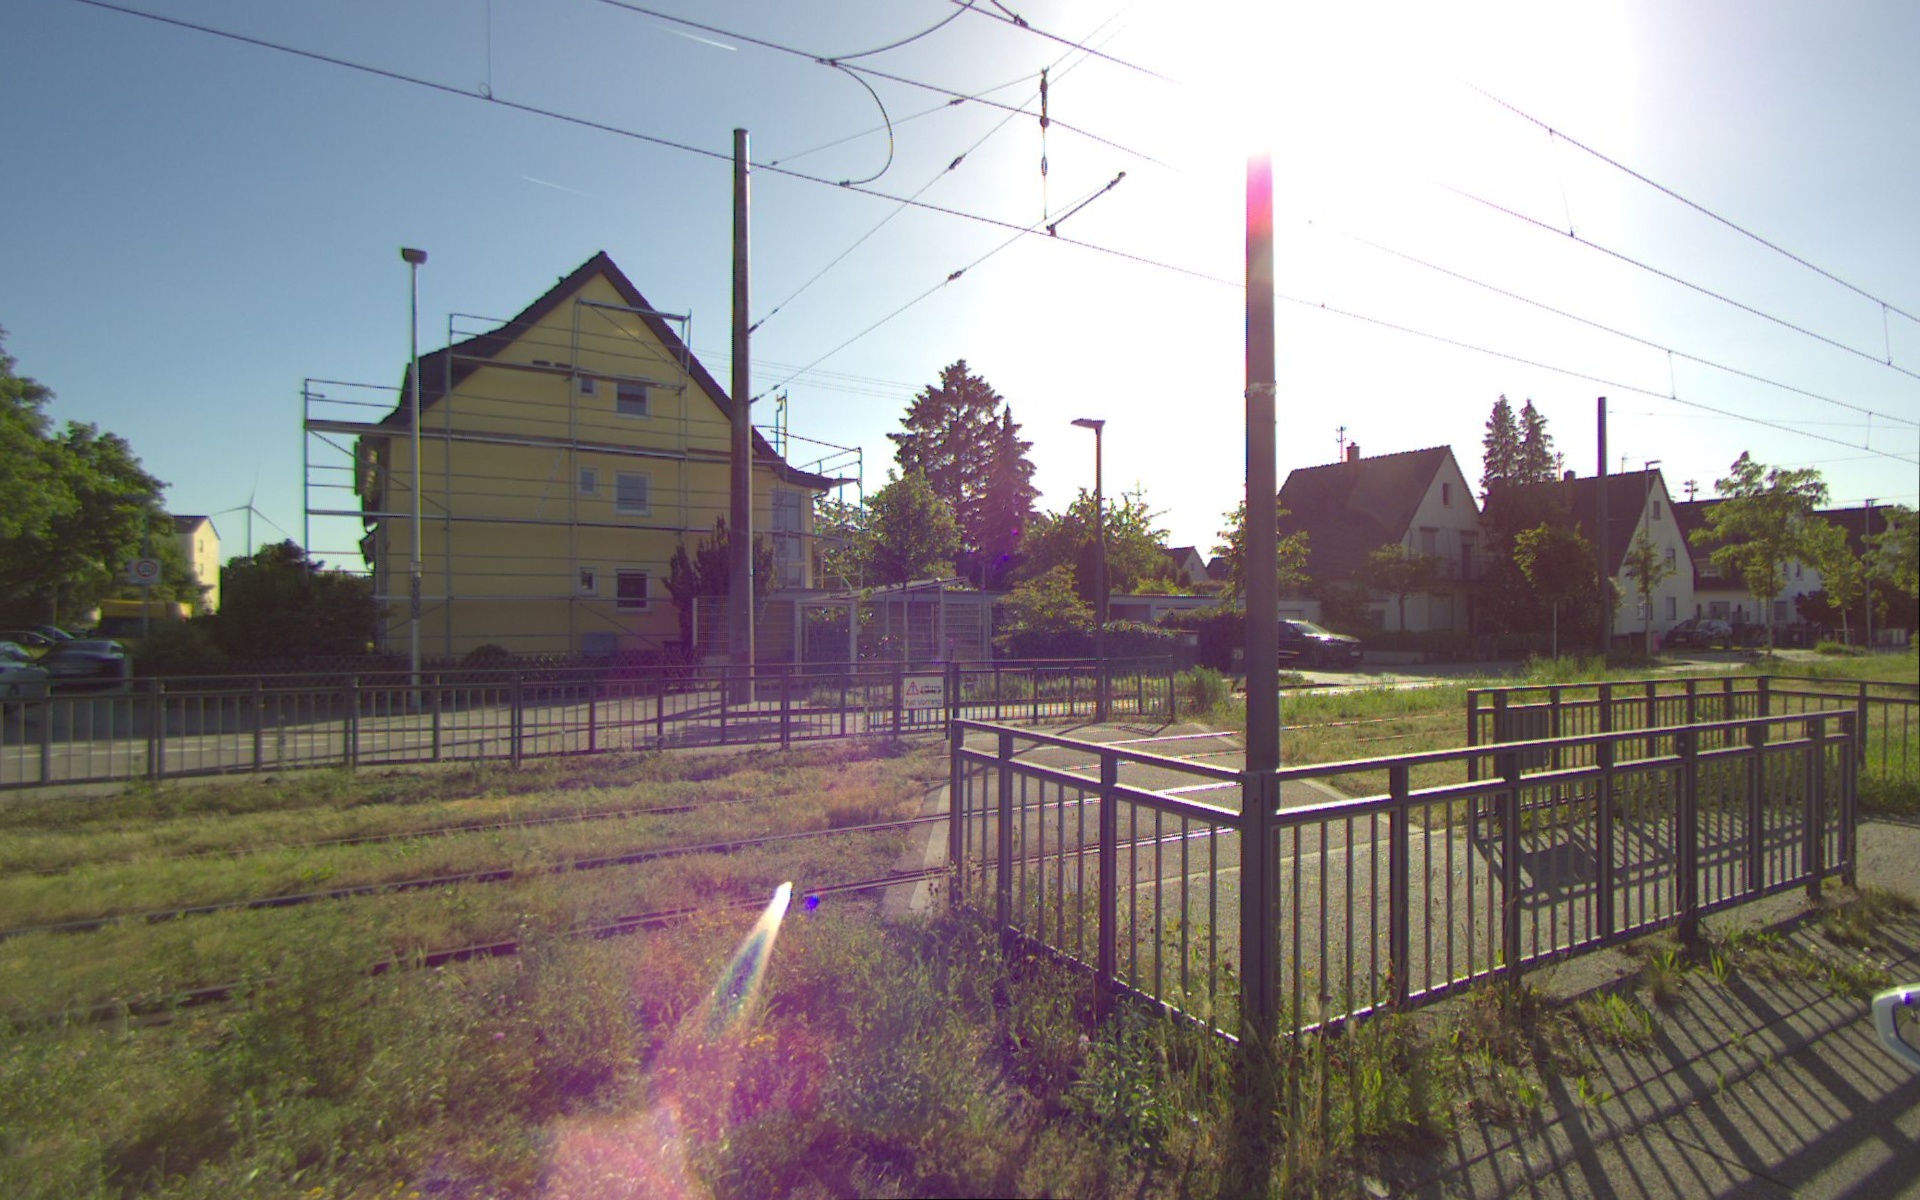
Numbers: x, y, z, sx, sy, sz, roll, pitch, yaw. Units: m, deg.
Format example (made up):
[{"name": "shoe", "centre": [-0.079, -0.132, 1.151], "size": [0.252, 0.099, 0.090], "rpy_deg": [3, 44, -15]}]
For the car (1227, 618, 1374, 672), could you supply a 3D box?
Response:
[{"name": "car", "centre": [11.942, 1.564, 35.454], "size": [2.037, 1.757, 4.499], "rpy_deg": [0, -2, -42]}]

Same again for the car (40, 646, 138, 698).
[{"name": "car", "centre": [-25.519, 2.068, 29.544], "size": [1.543, 1.364, 3.711], "rpy_deg": [2, -3, -32]}]

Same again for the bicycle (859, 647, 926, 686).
[{"name": "bicycle", "centre": [-1.727, 1.704, 25.939], "size": [1.729, 0.954, 0.421], "rpy_deg": [1, 0, -32]}]

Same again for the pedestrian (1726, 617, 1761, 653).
[{"name": "pedestrian", "centre": [36.497, 1.623, 46.810], "size": [1.073, 1.662, 0.960], "rpy_deg": [0, -1, -31]}]

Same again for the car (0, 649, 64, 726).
[{"name": "car", "centre": [-20.431, 1.771, 20.975], "size": [1.833, 1.422, 3.966], "rpy_deg": [3, -3, -32]}]

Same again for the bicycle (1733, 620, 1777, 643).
[{"name": "bicycle", "centre": [48.967, 1.923, 61.876], "size": [0.698, 1.384, 1.974], "rpy_deg": [0, -1, -37]}]

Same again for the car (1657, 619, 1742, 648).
[{"name": "car", "centre": [39.976, 1.807, 54.279], "size": [5.104, 1.469, 1.924], "rpy_deg": [0, -1, -32]}]

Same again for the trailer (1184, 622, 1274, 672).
[{"name": "trailer", "centre": [9.462, 1.631, 35.458], "size": [1.384, 1.669, 2.896], "rpy_deg": [0, -1, -33]}]

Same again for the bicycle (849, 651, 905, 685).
[{"name": "bicycle", "centre": [-2.171, 1.785, 26.482], "size": [1.492, 0.832, 0.309], "rpy_deg": [1, 0, -32]}]

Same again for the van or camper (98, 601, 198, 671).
[{"name": "van or camper", "centre": [-30.642, 1.250, 38.120], "size": [2.089, 2.380, 7.191], "rpy_deg": [0, 0, -32]}]

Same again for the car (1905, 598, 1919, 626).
[{"name": "car", "centre": [70.925, 0.885, 72.333], "size": [1.916, 1.996, 3.956], "rpy_deg": [1, 0, -38]}]
